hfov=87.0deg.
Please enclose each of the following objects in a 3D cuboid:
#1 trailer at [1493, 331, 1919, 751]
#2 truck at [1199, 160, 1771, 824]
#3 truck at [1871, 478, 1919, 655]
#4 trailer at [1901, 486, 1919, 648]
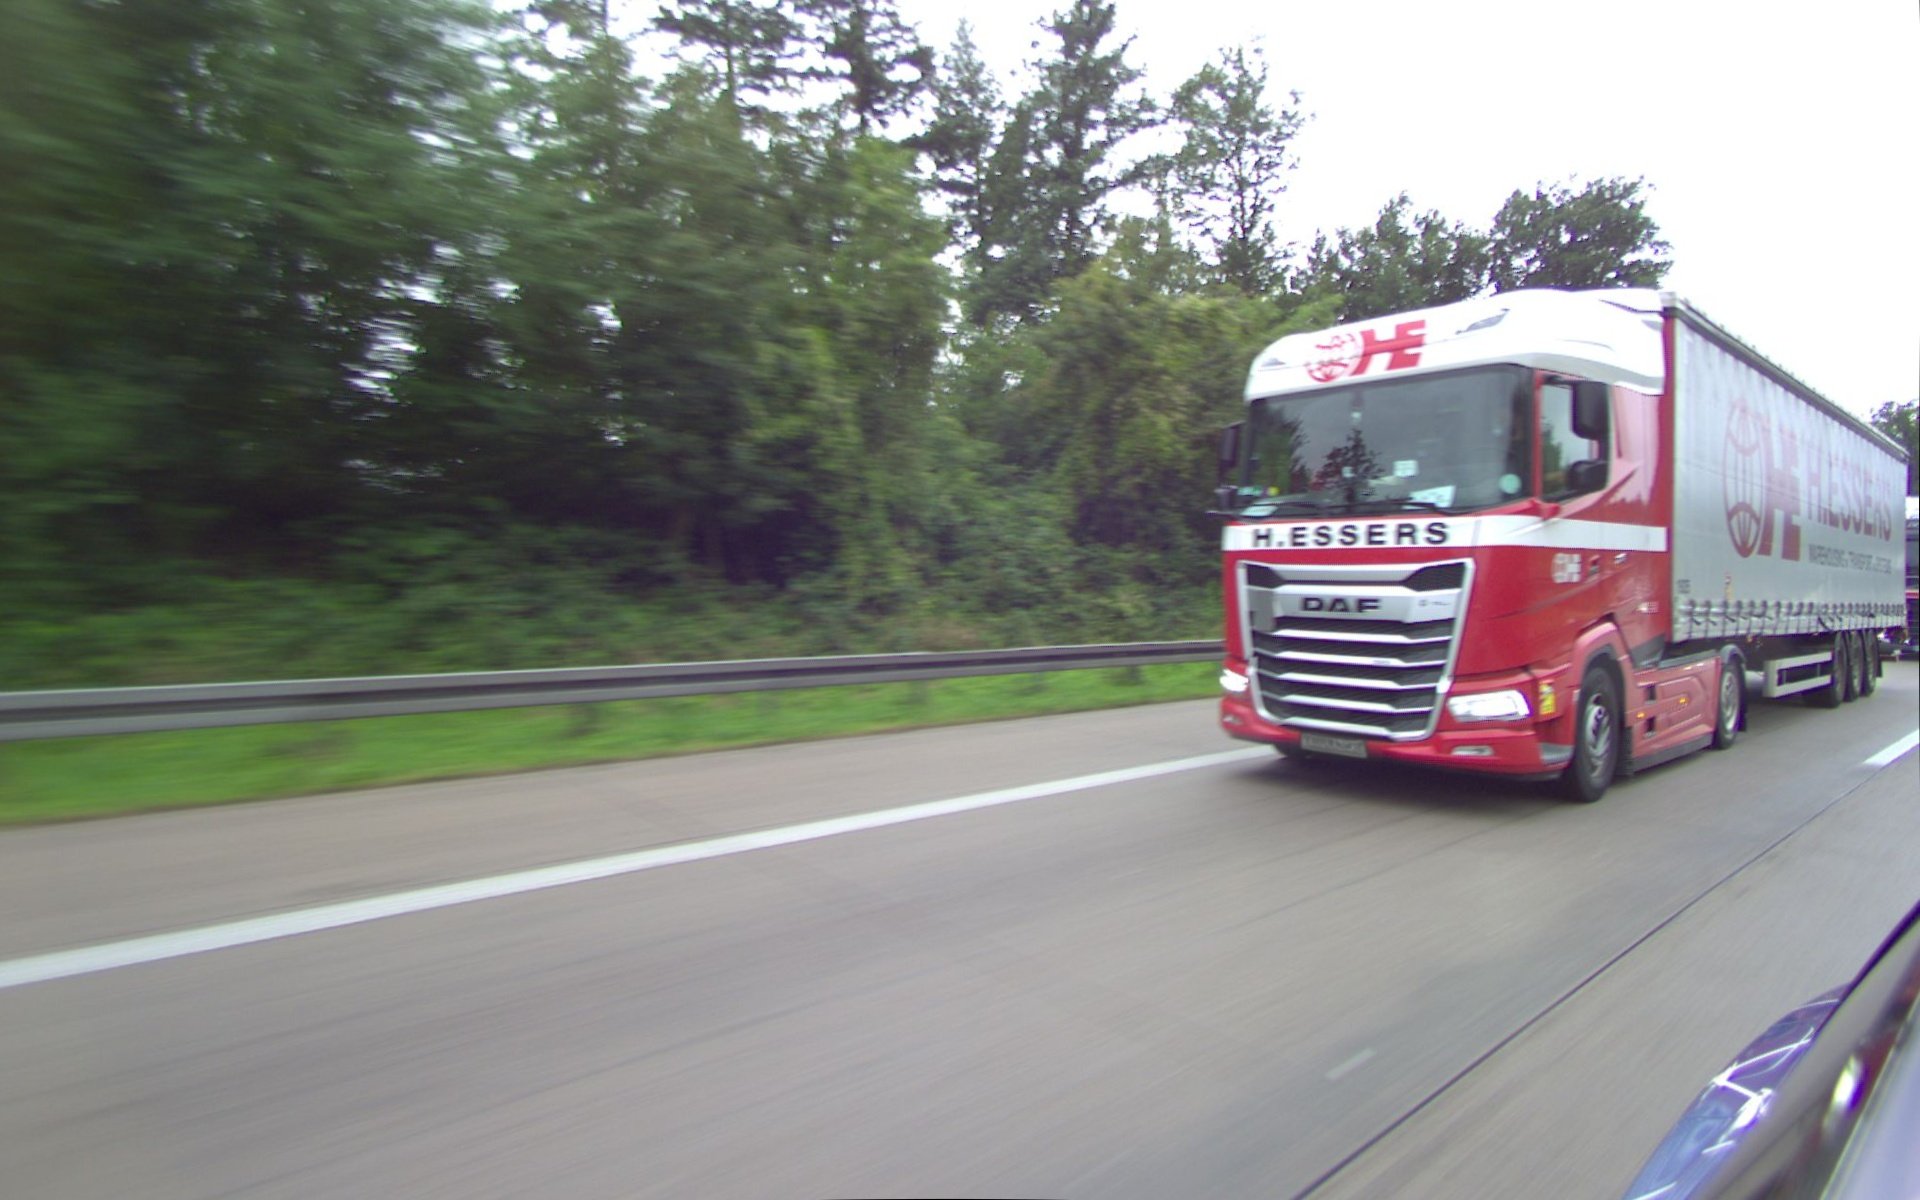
[{"bbox_3d":[11.604,-0.575,14.433,12.293,4.003,2.376,0,0,-39],"label":"trailer"},{"bbox_3d":[4.957,-0.632,8.972,6.050,4.004,2.379,1,-1,-40],"label":"truck"},{"bbox_3d":[25.187,-0.795,25.160,5.858,4.155,2.806,0,0,-38],"label":"truck"},{"bbox_3d":[30.591,-0.869,29.375,13.432,4.155,2.741,0,0,-38],"label":"trailer"}]
